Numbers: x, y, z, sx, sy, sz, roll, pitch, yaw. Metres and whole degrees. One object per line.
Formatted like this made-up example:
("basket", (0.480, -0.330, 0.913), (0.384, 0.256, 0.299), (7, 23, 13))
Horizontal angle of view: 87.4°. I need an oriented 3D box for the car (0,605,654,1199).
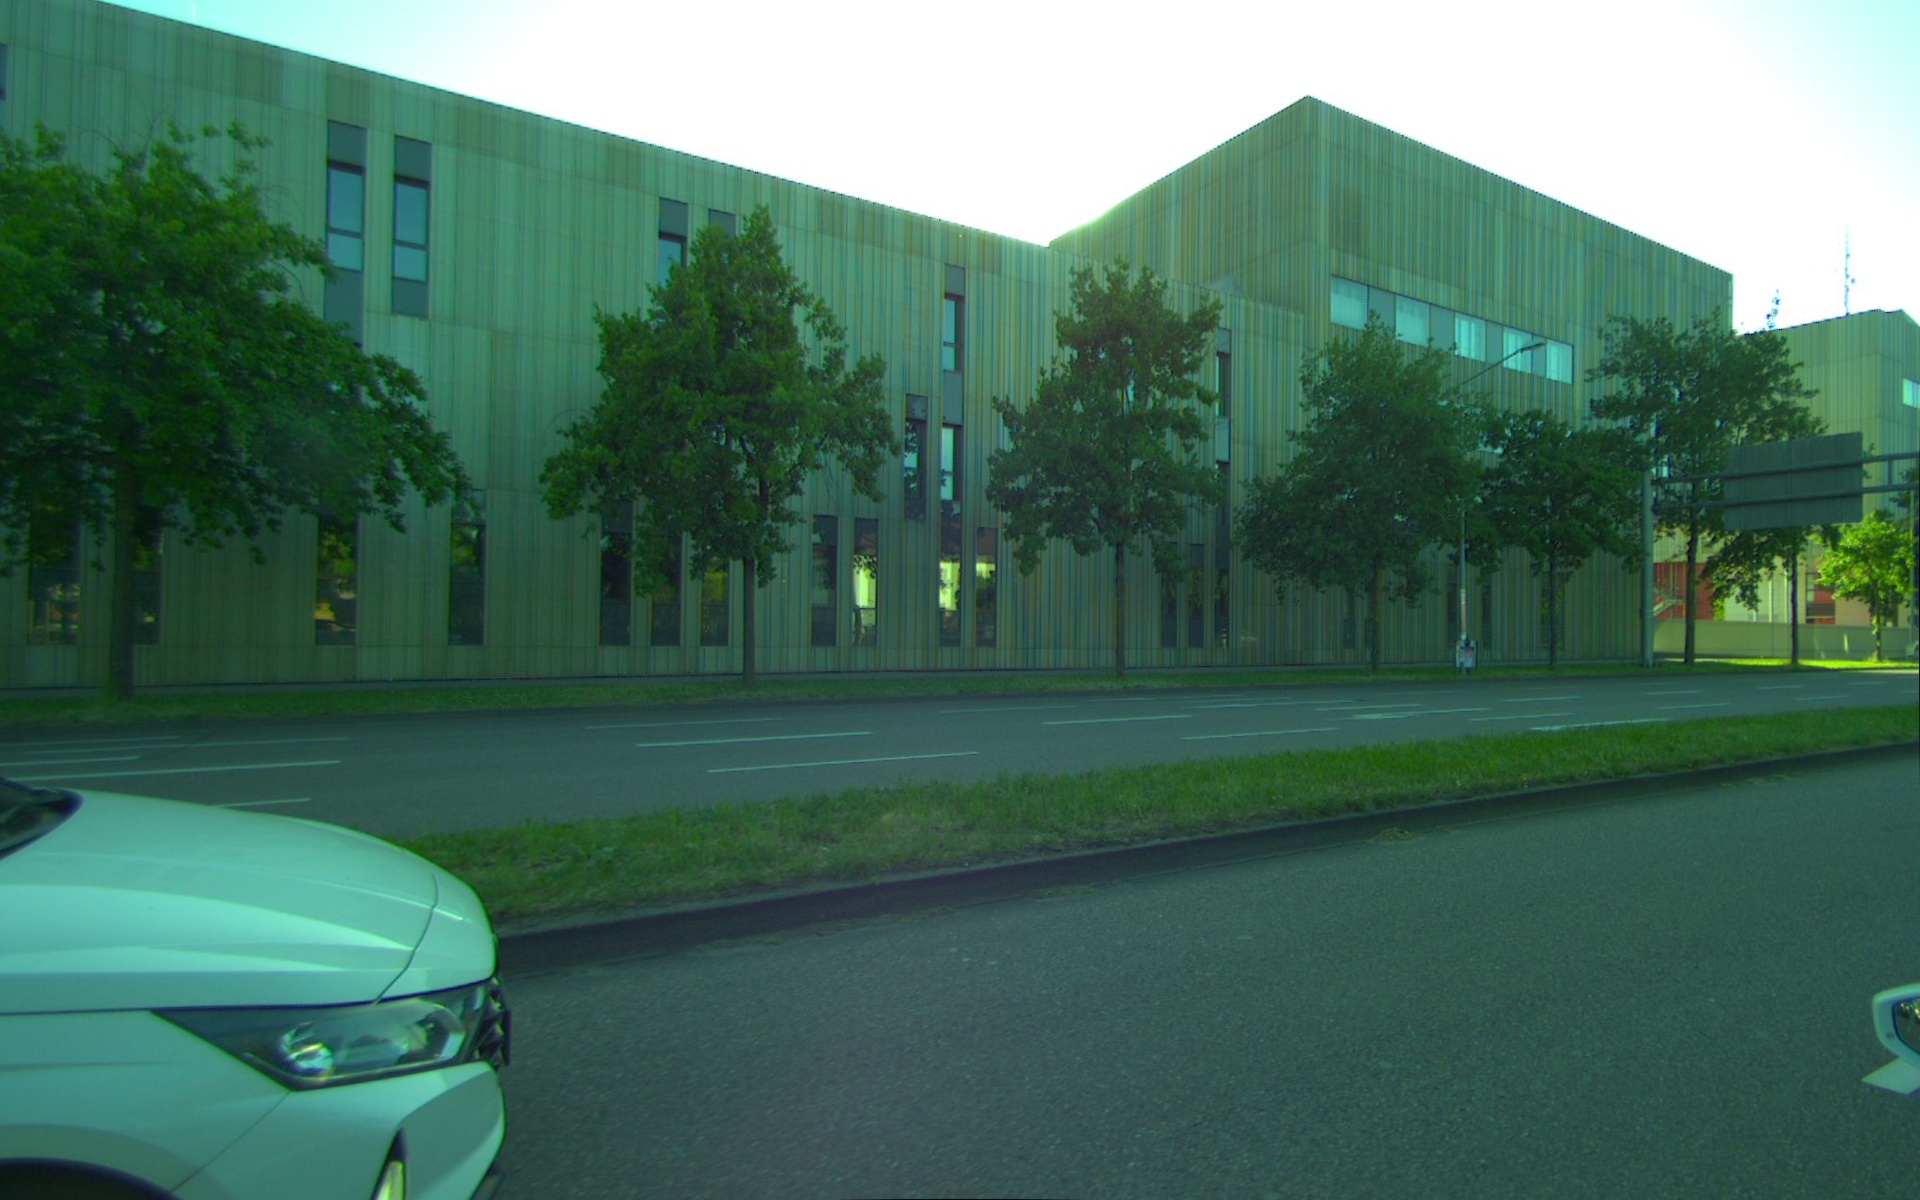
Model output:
("car", (-2.757, 0.713, 1.615), (4.028, 1.427, 1.769), (1, -1, -31))
